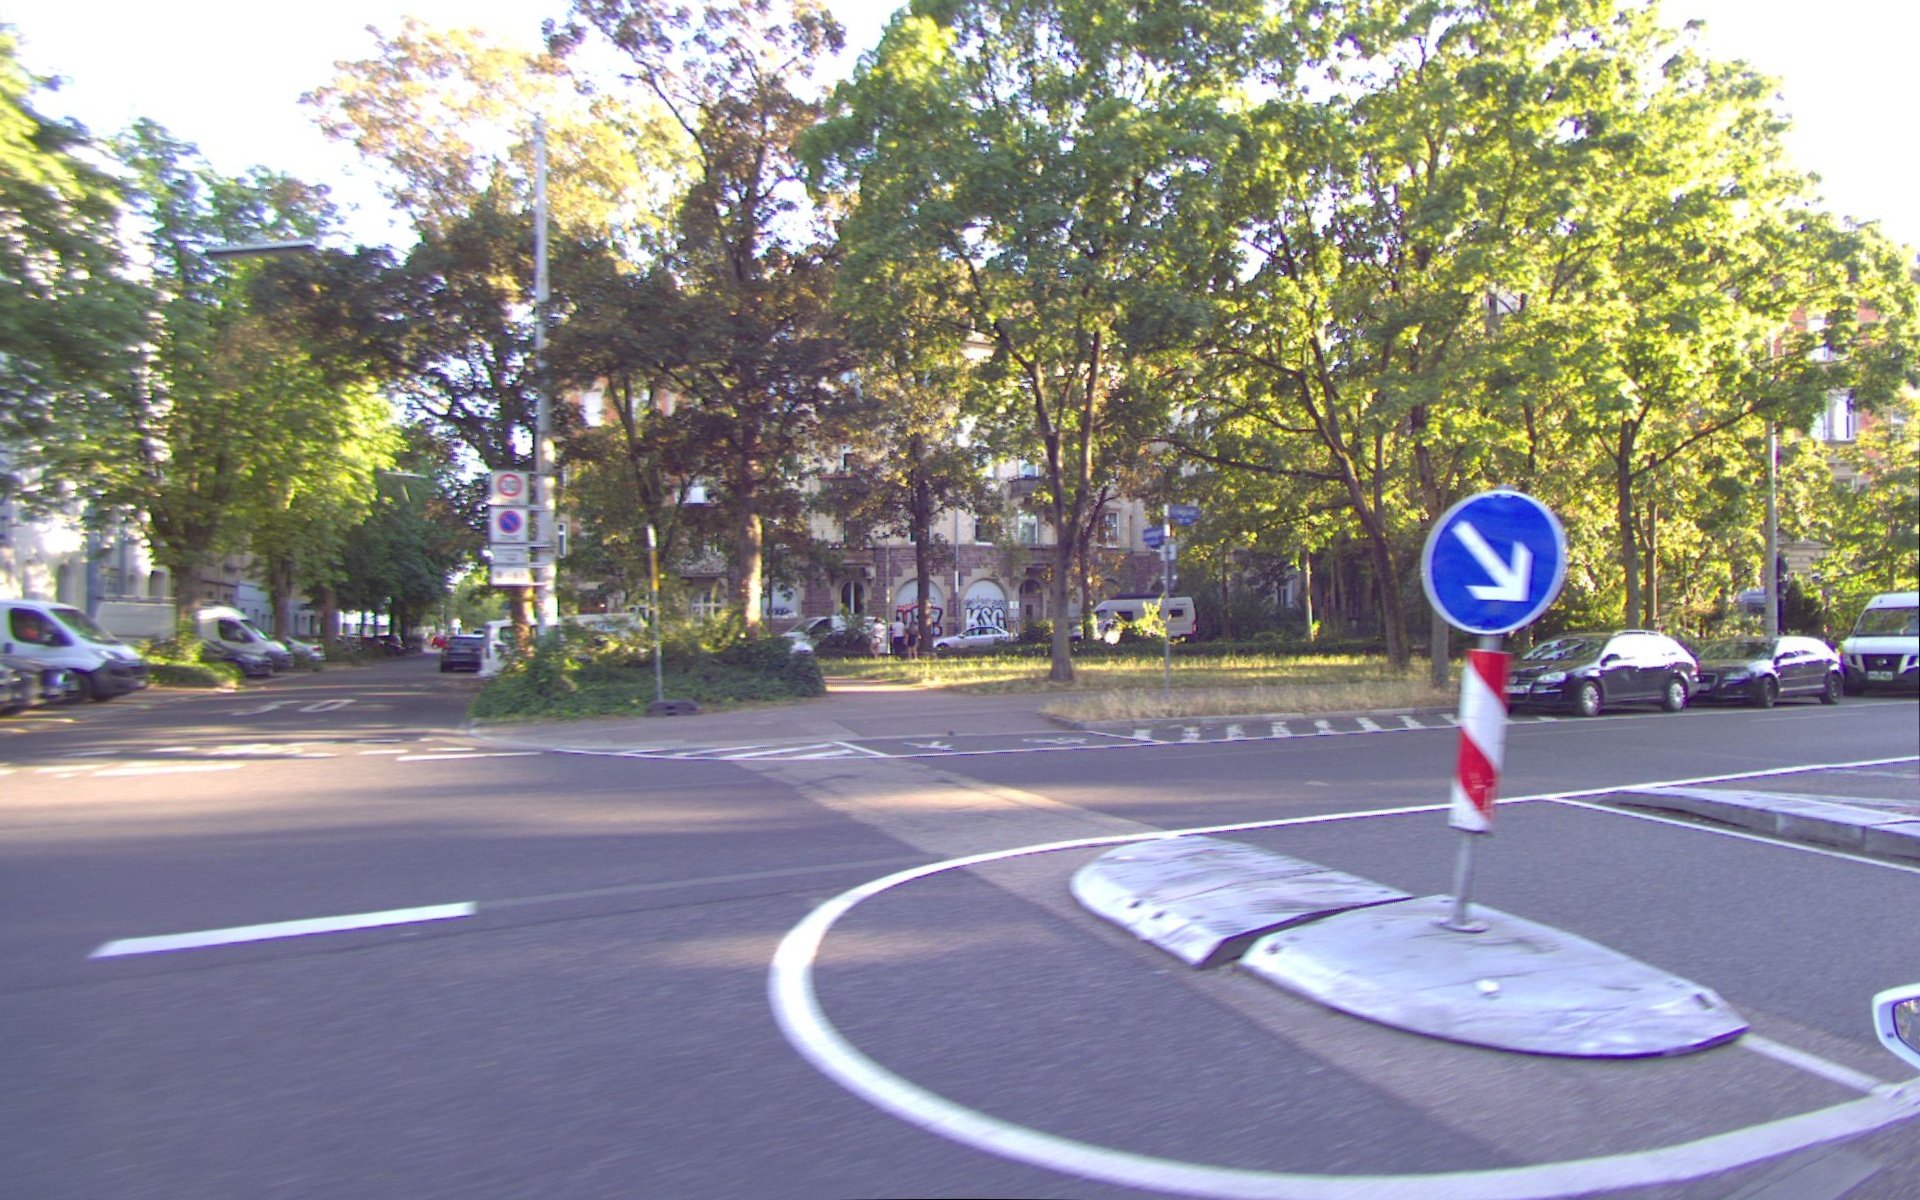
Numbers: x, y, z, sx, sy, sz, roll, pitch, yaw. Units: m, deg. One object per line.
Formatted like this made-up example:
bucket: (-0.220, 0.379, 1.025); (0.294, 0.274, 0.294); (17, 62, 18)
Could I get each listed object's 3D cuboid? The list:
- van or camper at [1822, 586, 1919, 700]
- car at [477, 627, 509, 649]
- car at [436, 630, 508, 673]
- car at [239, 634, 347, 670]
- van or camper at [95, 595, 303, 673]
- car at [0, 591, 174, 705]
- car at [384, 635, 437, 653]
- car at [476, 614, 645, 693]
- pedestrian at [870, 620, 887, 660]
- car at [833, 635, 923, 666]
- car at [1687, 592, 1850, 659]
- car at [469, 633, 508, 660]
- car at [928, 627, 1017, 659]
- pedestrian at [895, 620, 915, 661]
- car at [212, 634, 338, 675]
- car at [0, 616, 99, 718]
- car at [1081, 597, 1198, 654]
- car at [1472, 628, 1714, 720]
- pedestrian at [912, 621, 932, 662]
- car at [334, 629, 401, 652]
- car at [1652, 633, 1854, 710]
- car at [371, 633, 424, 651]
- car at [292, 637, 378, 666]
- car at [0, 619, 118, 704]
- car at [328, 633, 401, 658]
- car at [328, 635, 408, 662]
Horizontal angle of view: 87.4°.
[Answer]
van or camper: (23.684, 1.020, 24.242); (6.222, 2.500, 2.084); (1, -2, -26)
car: (-34.506, 2.797, 74.318); (1.972, 1.619, 4.716); (1, -2, -23)
car: (-19.702, 2.047, 40.718); (1.969, 1.619, 4.723); (1, -2, -18)
car: (-31.195, 2.406, 47.125); (3.990, 1.550, 1.894); (1, -1, -27)
van or camper: (-26.034, 1.145, 34.657); (5.358, 2.504, 2.058); (1, -1, -27)
car: (-20.154, 0.972, 21.303); (5.025, 2.319, 2.210); (1, -1, -23)
car: (-47.833, 3.810, 87.547); (3.990, 1.550, 1.894); (1, -1, -27)
car: (-10.648, 1.380, 26.781); (3.952, 1.907, 1.984); (1, 0, -30)
pedestrian: (-2.950, 1.437, 36.284); (0.547, 1.414, 0.458); (0, -1, 5)
car: (-3.876, 2.381, 47.632); (3.919, 1.416, 1.896); (0, -1, 9)
car: (34.503, 1.091, 42.979); (5.205, 2.775, 2.127); (0, -2, 0)
car: (-29.514, 2.892, 63.000); (1.972, 1.619, 4.716); (1, -2, -23)
car: (0.629, 1.992, 47.008); (3.919, 1.416, 1.896); (0, -1, 9)
pedestrian: (-1.935, 1.428, 35.405); (0.553, 1.414, 0.454); (1, -1, -32)
car: (-27.773, 2.191, 40.876); (3.990, 1.550, 1.894); (1, -1, -27)
car: (-17.483, 1.121, 17.085); (3.952, 1.684, 1.984); (1, -1, -30)
car: (8.105, 1.152, 45.644); (5.128, 2.518, 2.275); (0, -1, 9)
car: (11.644, 1.297, 18.428); (4.483, 1.526, 1.619); (1, -2, -25)
pedestrian: (-1.349, 1.464, 35.618); (0.553, 1.414, 0.454); (1, -1, -32)
car: (-42.405, 2.903, 72.000); (3.990, 1.550, 1.894); (1, -1, -27)
car: (16.368, 1.412, 20.712); (4.186, 1.448, 1.623); (1, -2, -26)
car: (-50.138, 3.755, 89.636); (3.990, 1.550, 1.894); (1, -1, -27)
car: (-35.747, 2.929, 57.588); (3.990, 1.550, 1.894); (1, -1, -27)
car: (-18.848, 1.146, 19.133); (3.952, 1.560, 1.984); (1, -1, -30)
car: (-39.414, 2.984, 66.597); (3.990, 1.550, 1.894); (1, -1, -27)
car: (-35.899, 2.915, 61.025); (3.990, 1.550, 1.894); (1, -1, -27)
